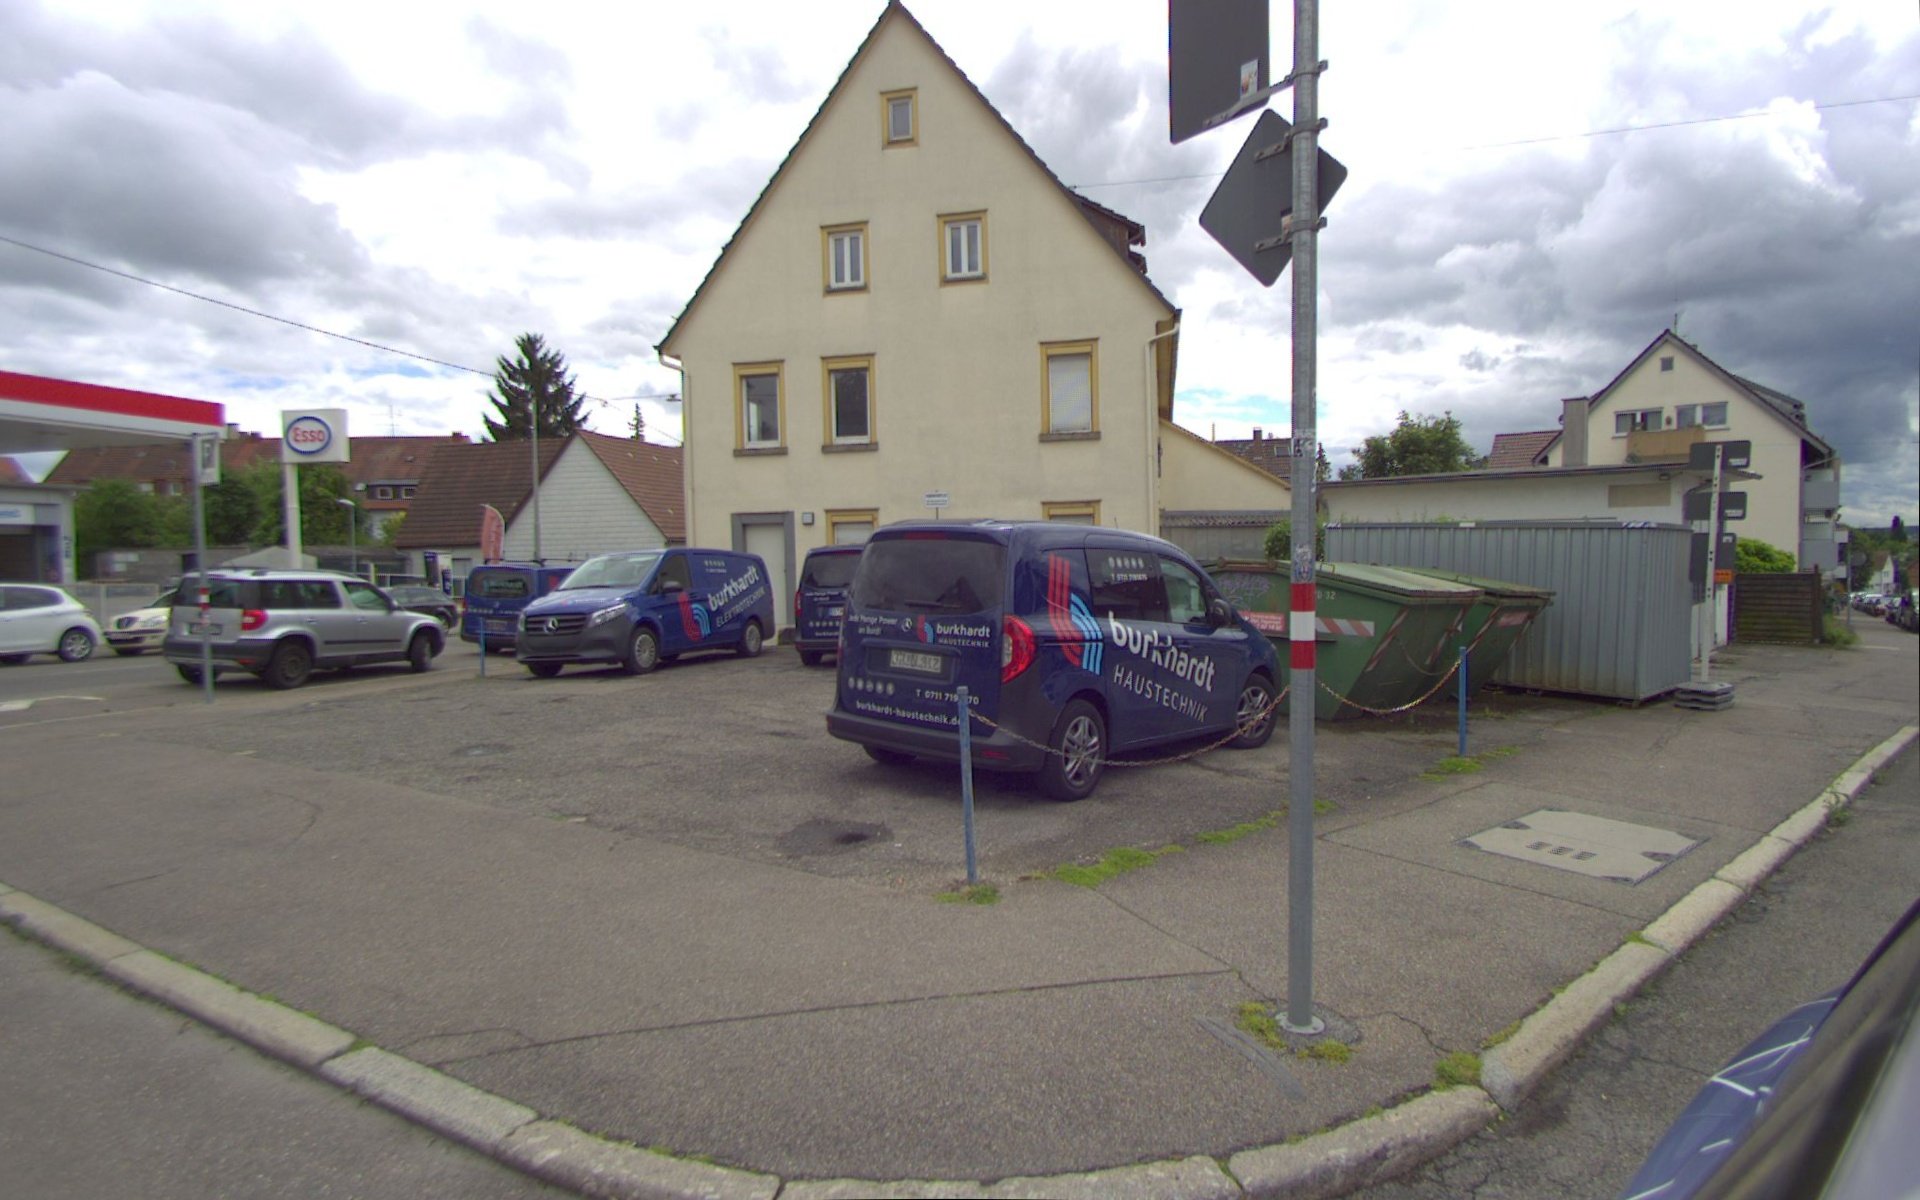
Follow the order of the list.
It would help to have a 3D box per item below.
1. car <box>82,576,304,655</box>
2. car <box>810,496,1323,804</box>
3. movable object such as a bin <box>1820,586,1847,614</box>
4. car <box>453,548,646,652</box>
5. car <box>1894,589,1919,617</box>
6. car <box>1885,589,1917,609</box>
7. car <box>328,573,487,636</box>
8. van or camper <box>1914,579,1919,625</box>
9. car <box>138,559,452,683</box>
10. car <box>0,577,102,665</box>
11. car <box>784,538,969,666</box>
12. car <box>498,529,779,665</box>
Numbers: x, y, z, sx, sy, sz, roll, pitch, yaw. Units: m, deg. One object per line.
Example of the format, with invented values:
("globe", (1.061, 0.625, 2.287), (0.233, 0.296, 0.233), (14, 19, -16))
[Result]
("car", (-16.797, 0.273, 22.400), (1.603, 1.492, 3.755), (0, 3, 13))
("car", (1.122, 0.213, 8.048), (1.745, 1.761, 4.504), (4, 3, 41))
("movable object such as a bin", (47.754, -0.006, 55.346), (1.079, 1.455, 1.241), (-1, 0, 41))
("car", (-8.640, -0.024, 21.757), (1.747, 1.967, 4.309), (2, 1, 11))
("car", (52.282, 0.151, 55.336), (1.607, 1.473, 3.803), (-1, 0, 41))
("car", (71.330, -0.094, 76.733), (1.607, 1.473, 3.803), (-1, 0, 41))
("car", (-15.303, 0.114, 28.279), (1.696, 1.616, 3.985), (-1, 0, 12))
("van or camper", (42.541, 0.064, 43.445), (1.991, 2.039, 4.991), (-2, -1, 40))
("car", (-9.949, 0.275, 15.556), (1.747, 1.638, 3.987), (-1, 0, 11))
("car", (-17.633, 0.355, 17.644), (1.748, 1.498, 3.817), (2, 1, 12))
("car", (-1.172, 0.026, 16.070), (1.840, 1.750, 3.985), (-1, 0, 12))
("car", (-4.866, -0.040, 16.203), (1.876, 1.825, 4.867), (-1, 0, 17))
